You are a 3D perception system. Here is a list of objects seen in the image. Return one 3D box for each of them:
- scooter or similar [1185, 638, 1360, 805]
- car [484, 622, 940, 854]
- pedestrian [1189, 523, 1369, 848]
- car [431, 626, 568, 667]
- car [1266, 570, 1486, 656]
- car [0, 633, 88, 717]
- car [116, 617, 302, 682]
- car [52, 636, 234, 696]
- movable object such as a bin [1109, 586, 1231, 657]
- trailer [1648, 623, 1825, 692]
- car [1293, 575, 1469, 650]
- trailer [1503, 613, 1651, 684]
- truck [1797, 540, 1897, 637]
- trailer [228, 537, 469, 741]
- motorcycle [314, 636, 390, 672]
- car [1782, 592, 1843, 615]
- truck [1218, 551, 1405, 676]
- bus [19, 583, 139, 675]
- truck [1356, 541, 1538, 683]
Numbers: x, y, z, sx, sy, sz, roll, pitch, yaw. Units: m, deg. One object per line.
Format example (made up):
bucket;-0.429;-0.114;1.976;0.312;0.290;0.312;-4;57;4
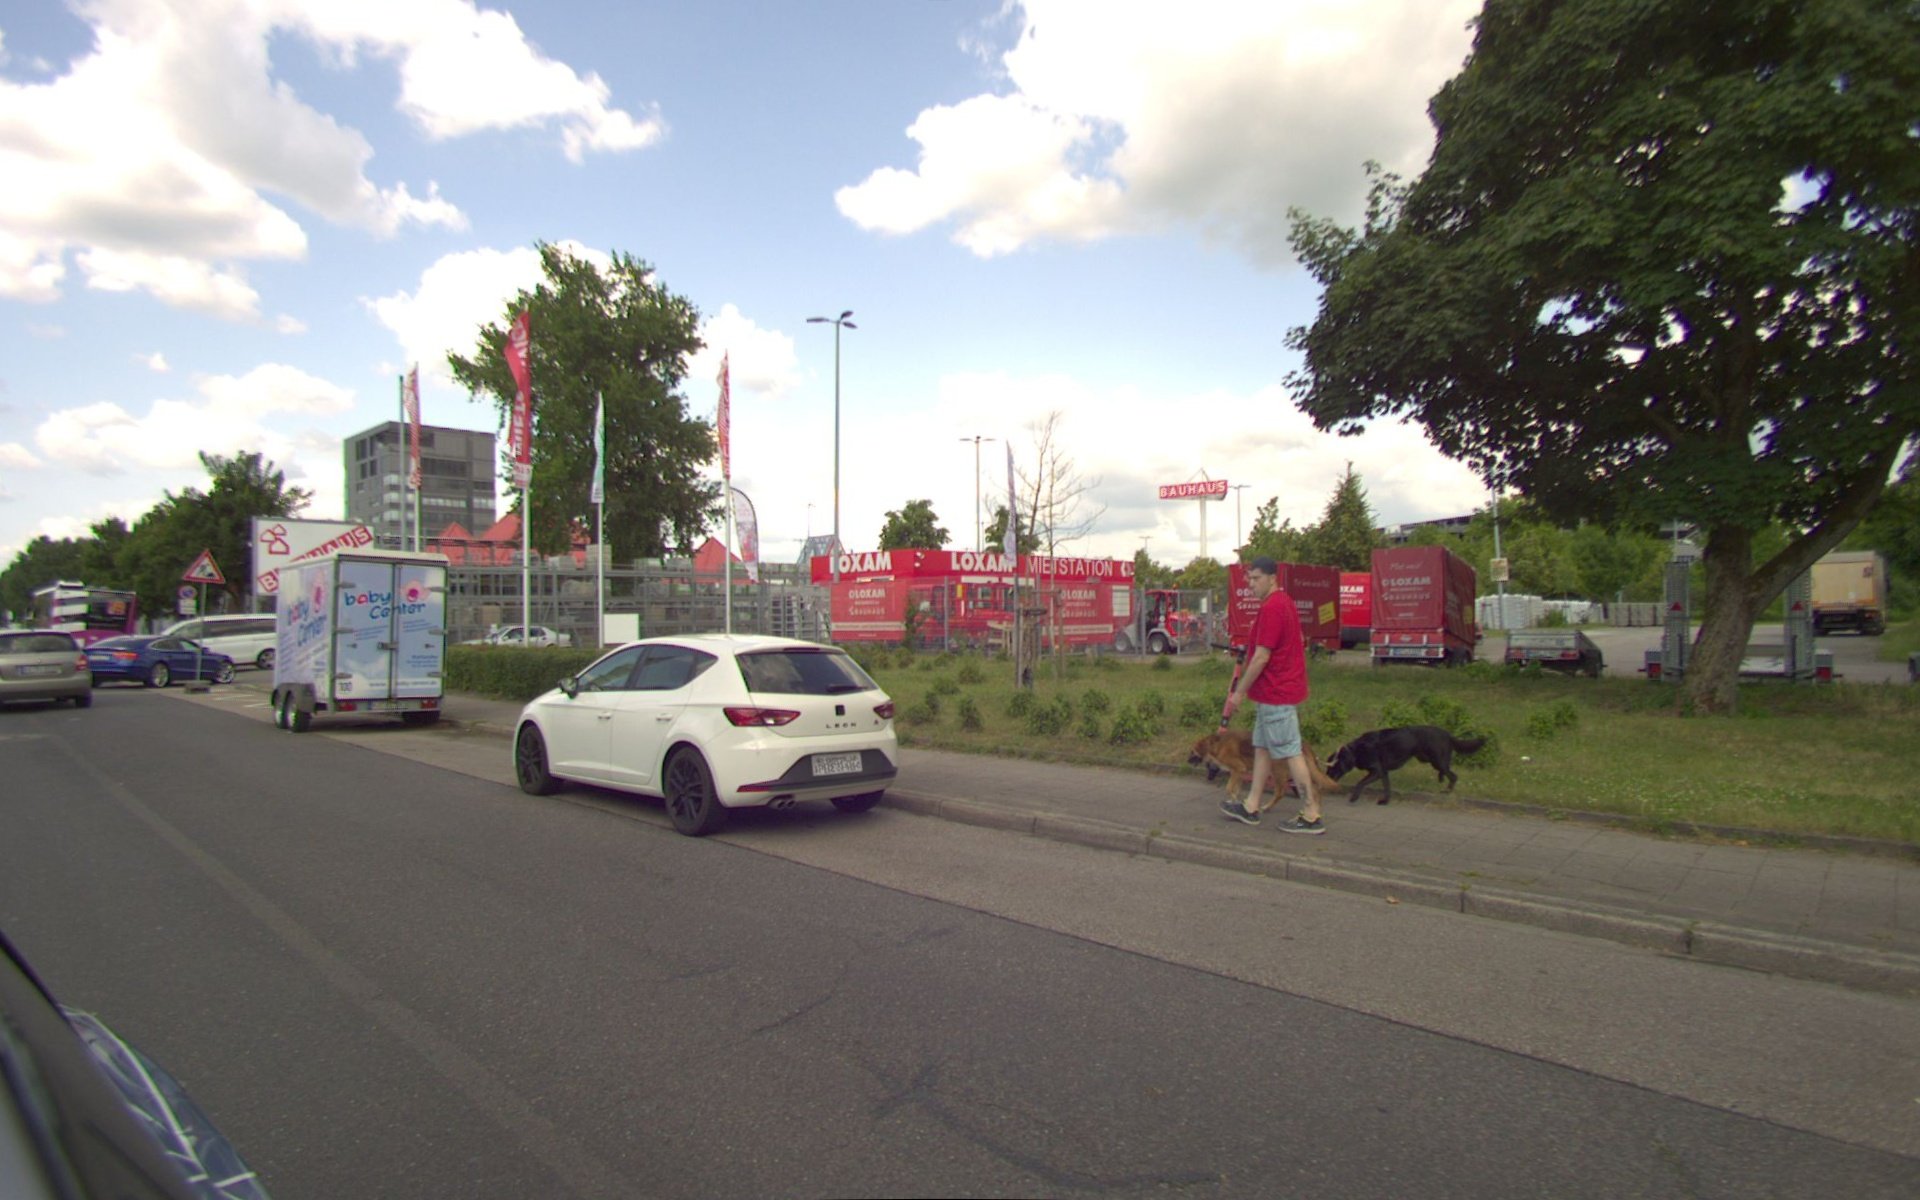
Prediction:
scooter or similar;2.490;0.927;8.172;0.510;1.202;1.283;-1;0;-35
car;-2.291;0.989;8.653;4.235;1.490;1.746;-2;-4;43
pedestrian;2.180;0.540;6.919;0.885;2.029;0.800;-2;-1;44
car;-18.499;1.849;40.765;1.955;1.465;4.630;-2;-2;45
car;13.743;0.384;33.794;6.442;2.613;2.240;0;0;45
car;-18.108;1.389;19.524;3.762;1.476;1.573;-2;-3;44
car;-25.311;1.608;34.202;4.938;1.964;1.995;0;-1;-41
car;-21.859;1.713;27.335;1.898;1.387;4.388;-1;-1;-9
movable object such as a bin;7.112;0.729;34.466;3.546;2.292;1.971;-2;-2;44
trailer;13.659;0.927;17.711;2.159;0.919;4.189;0;0;42
car;15.775;0.413;38.139;5.726;2.613;2.240;0;0;45
trailer;11.846;0.854;19.311;1.672;1.129;4.189;0;0;42
truck;39.909;-0.484;45.429;2.989;3.979;8.229;0;0;44
trailer;-9.972;0.631;16.344;4.704;2.804;2.115;-2;-4;44
motorcycle;-22.048;1.929;36.711;0.995;1.223;2.196;-2;-2;44
car;78.166;0.346;92.835;1.590;2.029;4.010;-1;-1;-14
truck;8.382;0.267;23.779;5.688;2.613;1.817;0;0;-44
bus;-38.255;1.338;43.712;13.222;3.449;2.633;-2;-5;44
truck;10.322;0.210;21.191;1.780;2.613;5.485;0;0;44
